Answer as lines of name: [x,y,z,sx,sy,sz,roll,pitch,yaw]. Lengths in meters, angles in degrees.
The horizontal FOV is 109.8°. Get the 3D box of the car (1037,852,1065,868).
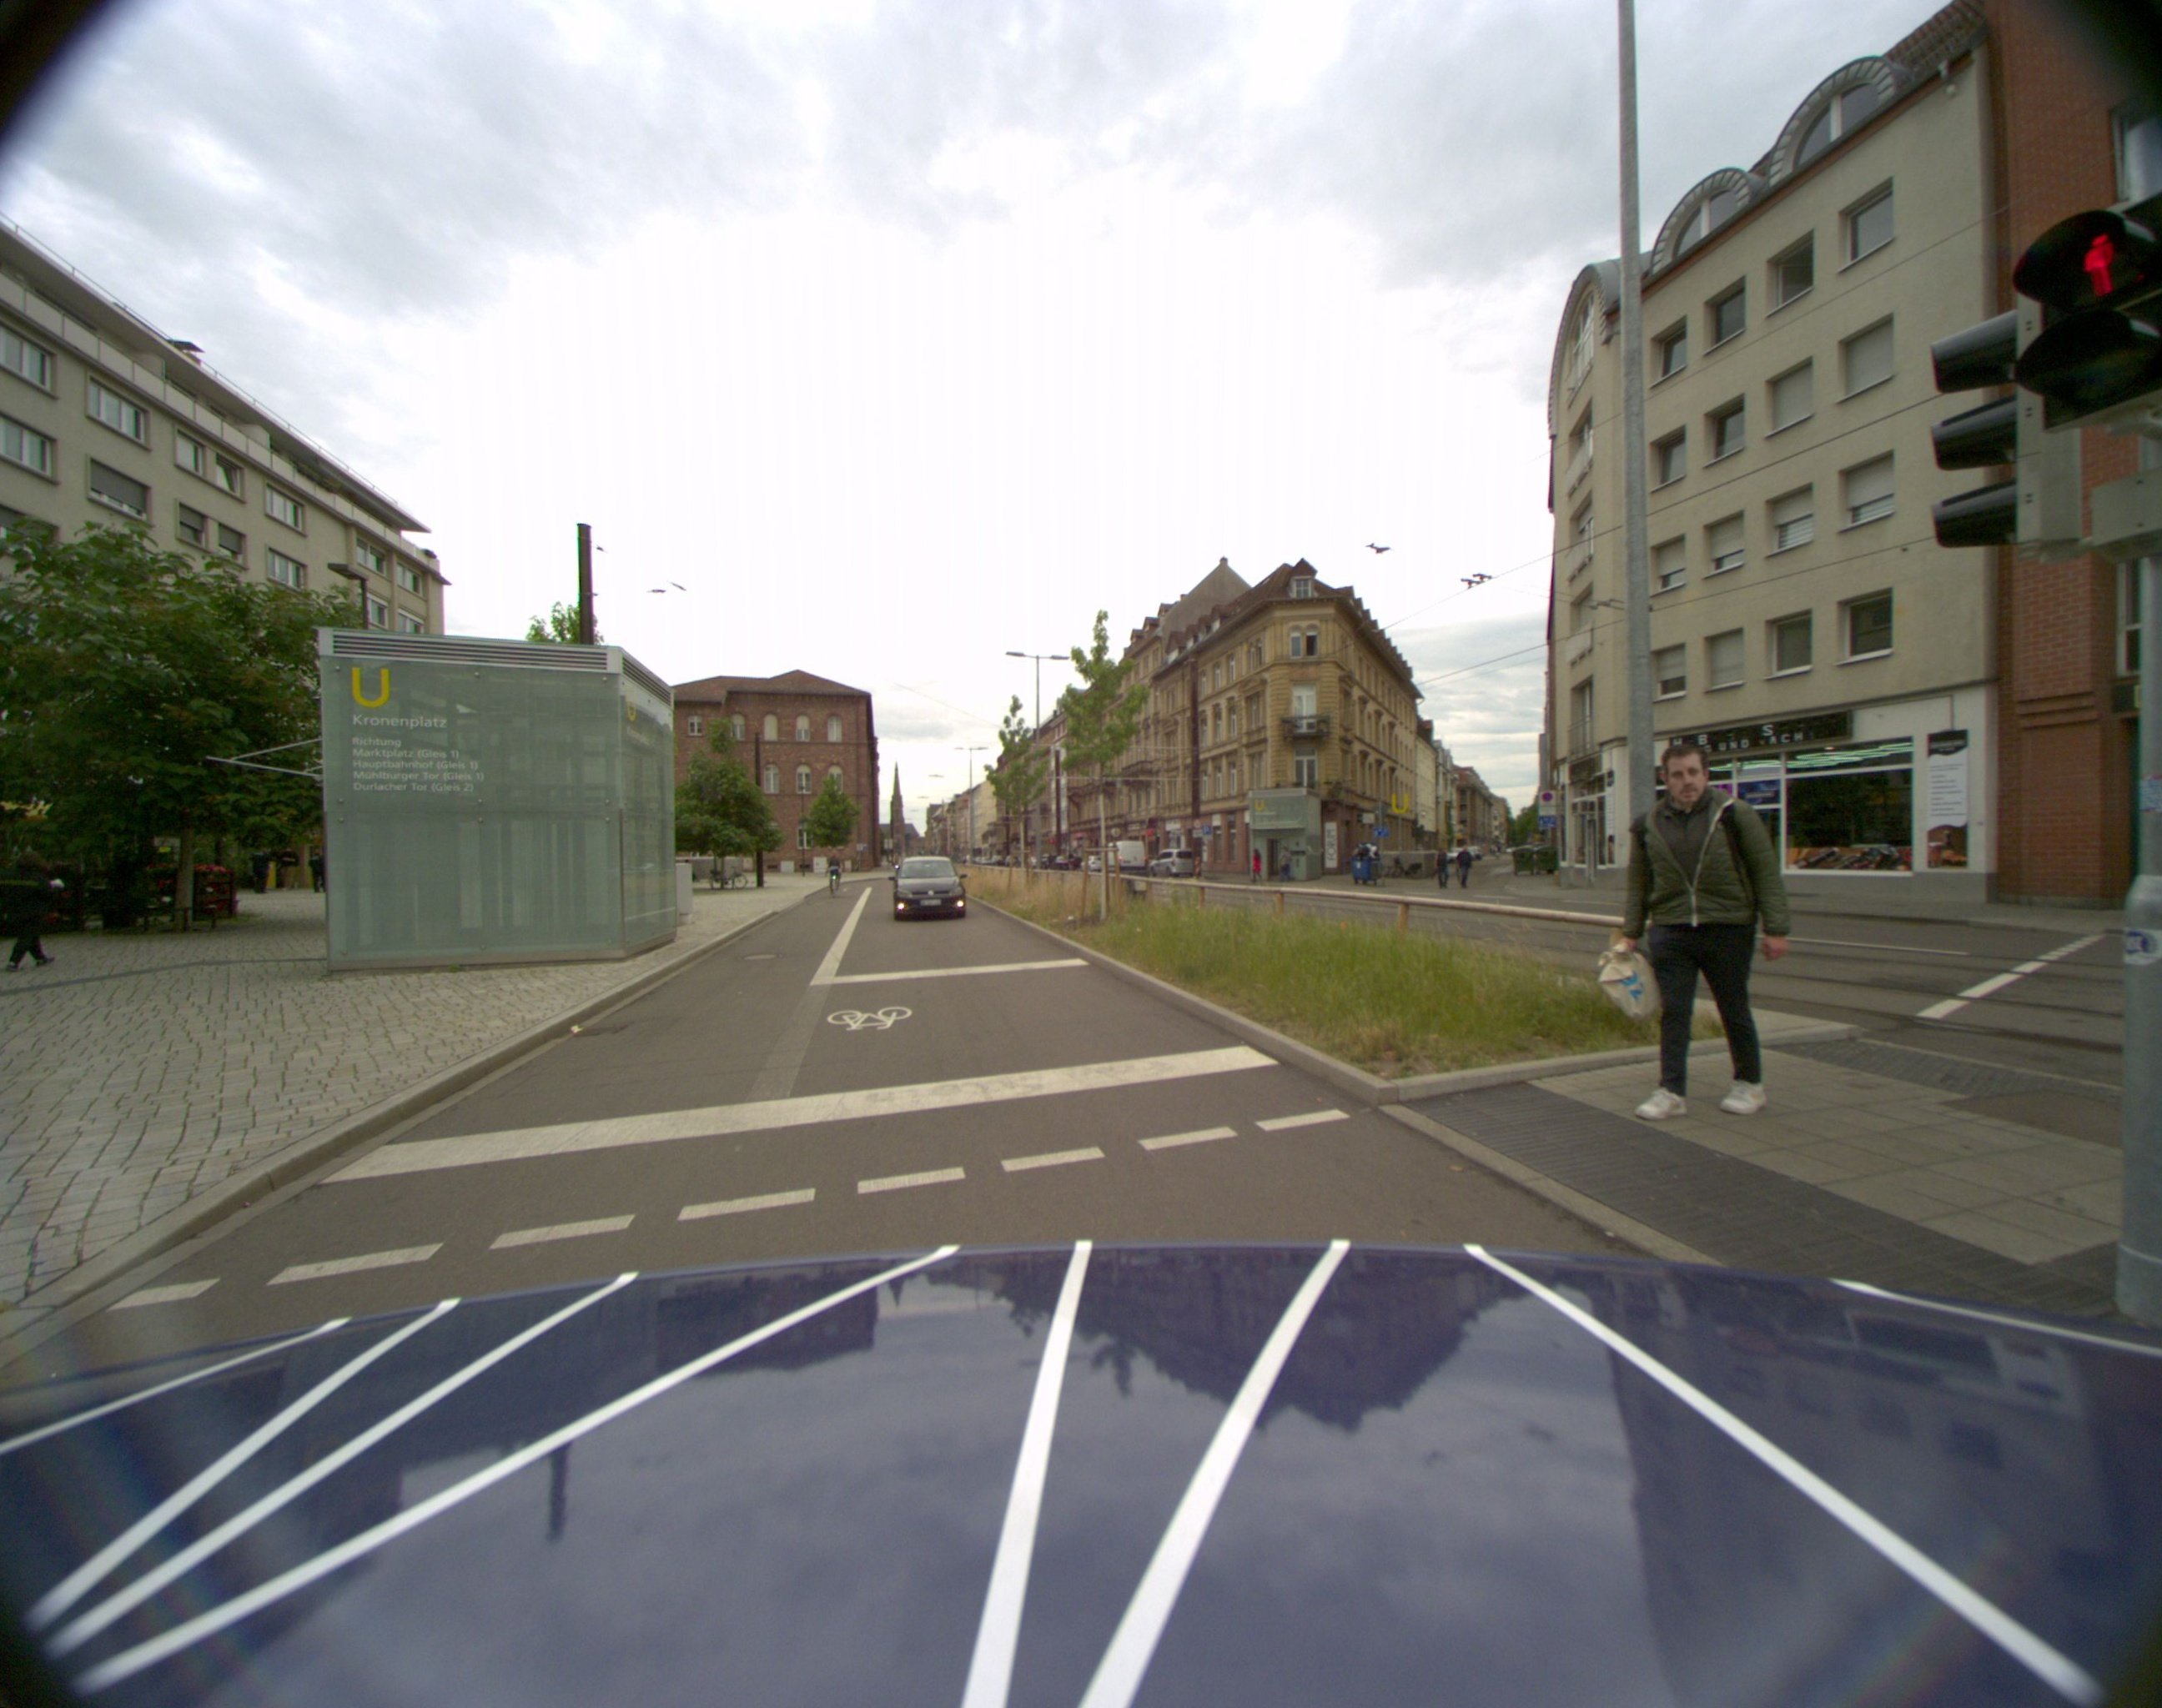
car: [-3.359,0.635,83.847,1.820,1.680,5.024,0,0,-17]

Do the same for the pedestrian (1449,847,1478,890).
pedestrian: [15.417,0.566,30.636,0.661,1.677,0.923,0,2,1]

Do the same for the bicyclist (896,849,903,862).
bicyclist: [-16.097,0.159,67.257,0.588,1.164,0.661,-1,1,-15]

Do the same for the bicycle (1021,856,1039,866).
bicycle: [-6.512,0.921,97.240,2.291,1.321,0.665,1,0,-14]

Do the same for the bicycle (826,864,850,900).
bicycle: [-9.070,1.020,28.379,0.525,1.253,1.939,-1,1,-9]

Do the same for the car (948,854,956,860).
car: [-35.813,0.727,211.027,1.870,1.553,3.995,1,0,-14]

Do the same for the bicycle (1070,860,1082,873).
bicycle: [-0.391,1.011,61.692,0.478,1.015,1.909,-1,0,-15]

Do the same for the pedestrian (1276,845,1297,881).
pedestrian: [9.834,0.436,36.403,0.824,1.677,0.723,0,2,3]

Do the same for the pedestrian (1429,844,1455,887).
pedestrian: [14.600,0.453,30.744,0.661,1.677,0.722,0,2,1]

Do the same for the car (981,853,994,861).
car: [-16.931,0.590,137.516,1.750,1.456,4.041,0,0,-15]

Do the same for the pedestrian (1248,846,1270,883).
pedestrian: [8.337,0.488,35.583,0.723,1.677,0.660,-1,2,-25]

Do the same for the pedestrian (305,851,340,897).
pedestrian: [-29.469,0.762,29.511,0.774,1.741,0.719,1,0,24]

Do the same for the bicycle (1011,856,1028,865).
bicycle: [-8.495,0.911,104.664,2.291,1.196,0.704,1,0,-14]

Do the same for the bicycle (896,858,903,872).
bicycle: [-16.067,0.948,67.215,0.473,1.151,2.270,-1,0,-14]

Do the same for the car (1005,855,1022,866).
car: [-9.765,0.914,109.307,1.750,1.524,4.220,0,0,-15]

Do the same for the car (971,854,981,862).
car: [-22.268,0.846,161.242,1.709,1.746,3.915,0,0,-13]

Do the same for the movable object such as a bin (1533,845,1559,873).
movable object such as a bin: [23.732,0.239,38.779,1.008,1.397,1.241,-1,1,27]

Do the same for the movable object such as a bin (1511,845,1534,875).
movable object such as a bin: [22.837,0.283,39.300,0.944,1.492,1.241,-1,1,27]

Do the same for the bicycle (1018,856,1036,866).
bicycle: [-7.230,0.933,100.821,2.291,1.321,0.665,1,0,-14]

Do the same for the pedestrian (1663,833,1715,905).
pedestrian: [14.505,0.345,18.134,0.663,1.677,0.721,-1,2,-27]

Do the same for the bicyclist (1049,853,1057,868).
bicyclist: [-2.527,0.584,68.354,0.481,1.399,0.811,-1,1,-16]

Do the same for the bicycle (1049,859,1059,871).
bicycle: [-2.407,0.957,68.462,0.481,1.015,1.909,-1,0,-16]

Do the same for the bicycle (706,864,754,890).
bicycle: [-16.758,1.095,36.326,1.919,1.116,0.645,-2,1,-3]

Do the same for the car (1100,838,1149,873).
car: [3.283,0.124,58.477,2.061,2.472,5.658,1,0,-15]

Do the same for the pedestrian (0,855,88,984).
pedestrian: [-14.238,0.852,10.252,0.627,1.674,0.868,0,1,-18]

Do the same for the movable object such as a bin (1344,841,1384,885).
movable object such as a bin: [12.853,0.386,34.565,1.034,1.970,1.615,0,2,-8]

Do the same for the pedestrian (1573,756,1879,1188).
pedestrian: [3.185,0.499,3.804,0.900,1.879,0.798,-3,2,-16]

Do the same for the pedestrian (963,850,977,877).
pedestrian: [-7.793,0.681,53.153,0.873,1.890,0.772,0,0,-15]

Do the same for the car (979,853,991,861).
car: [-17.996,0.590,142.244,1.831,1.512,4.540,0,-1,-14]

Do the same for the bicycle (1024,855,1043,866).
bicycle: [-5.901,0.859,94.683,2.291,1.321,0.665,1,0,-14]

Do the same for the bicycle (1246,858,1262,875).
bicycle: [10.279,0.728,45.226,0.341,0.954,1.686,-2,1,-7]

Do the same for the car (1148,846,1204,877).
car: [5.939,0.441,48.241,1.910,1.853,4.514,1,0,-16]

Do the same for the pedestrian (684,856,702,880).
pedestrian: [-24.254,0.889,47.446,0.782,1.447,0.766,1,0,-44]

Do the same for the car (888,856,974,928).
car: [-3.781,0.849,18.755,1.749,1.538,3.645,-2,1,-16]

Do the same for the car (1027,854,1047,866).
car: [-5.327,0.699,91.705,1.750,1.479,3.915,0,0,-15]

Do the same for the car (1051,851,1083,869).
car: [-1.448,0.610,75.115,1.927,1.679,5.045,1,0,-16]

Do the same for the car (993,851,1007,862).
car: [-13.243,0.408,123.845,1.750,1.662,4.041,0,0,-15]

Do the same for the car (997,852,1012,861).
car: [-11.999,0.422,119.264,1.750,1.479,3.915,0,0,-14]

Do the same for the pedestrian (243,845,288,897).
pedestrian: [-30.106,0.621,28.056,0.774,1.874,0.853,-1,1,24]

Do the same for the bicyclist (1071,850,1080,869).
bicyclist: [-0.434,0.482,61.836,0.493,1.531,0.811,-1,1,-16]

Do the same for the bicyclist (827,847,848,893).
bicyclist: [-9.073,0.580,28.328,0.571,1.674,0.793,-1,1,-8]

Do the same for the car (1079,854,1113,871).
car: [1.240,0.688,65.952,1.778,1.414,4.159,1,0,-16]
